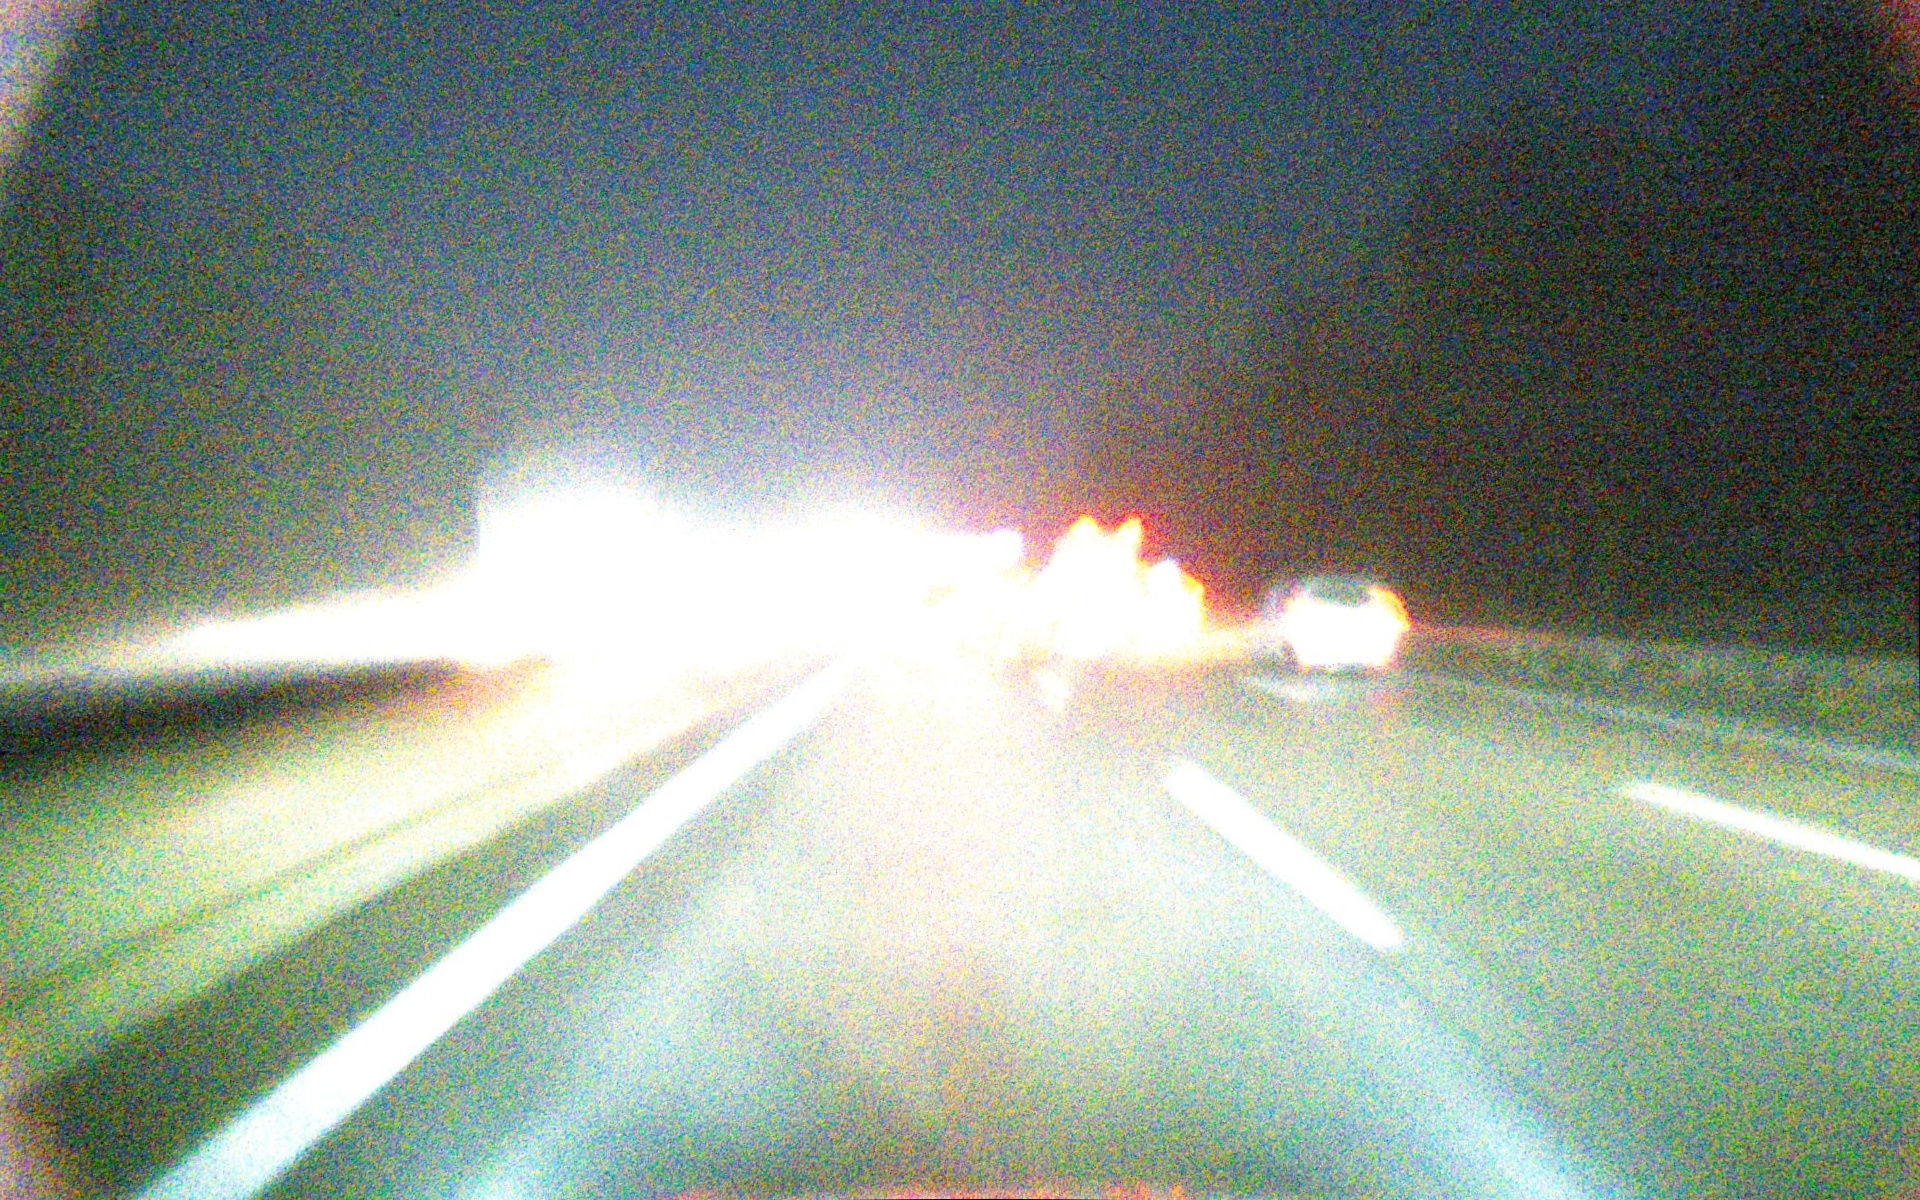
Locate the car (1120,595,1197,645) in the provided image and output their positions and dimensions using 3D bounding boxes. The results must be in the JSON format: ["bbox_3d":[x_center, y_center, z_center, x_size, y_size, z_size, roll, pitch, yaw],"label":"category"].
[{"bbox_3d":[6.622,0.644,55.688,1.856,1.512,4.960,1,1,-2],"label":"car"}]

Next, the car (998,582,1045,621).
[{"bbox_3d":[2.648,0.053,72.372,1.846,1.616,3.999,1,0,-1],"label":"car"}]

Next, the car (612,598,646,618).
[{"bbox_3d":[-22.108,0.546,110.614,1.577,1.252,3.681,-1,0,-1],"label":"car"}]

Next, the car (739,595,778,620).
[{"bbox_3d":[-12.355,0.452,101.471,1.953,1.445,3.999,-1,0,-1],"label":"car"}]

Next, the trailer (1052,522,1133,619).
[{"bbox_3d":[6.264,-1.355,80.117,2.746,4.286,12.094,1,0,-1],"label":"trailer"}]

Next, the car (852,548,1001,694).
[{"bbox_3d":[-0.719,0.339,33.079,2.655,2.578,5.828,-2,1,-2],"label":"car"}]

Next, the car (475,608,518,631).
[{"bbox_3d":[-25.063,1.047,89.488,1.380,1.145,3.541,-1,0,-1],"label":"car"}]

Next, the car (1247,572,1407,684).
[{"bbox_3d":[7.254,0.479,33.307,2.004,2.008,5.407,-2,1,0],"label":"car"}]

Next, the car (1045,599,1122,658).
[{"bbox_3d":[3.168,0.705,43.041,1.580,1.437,3.791,1,0,-2],"label":"car"}]

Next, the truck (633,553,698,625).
[{"bbox_3d":[-18.538,-0.694,104.354,2.992,4.368,6.082,-2,0,-1],"label":"truck"}]
